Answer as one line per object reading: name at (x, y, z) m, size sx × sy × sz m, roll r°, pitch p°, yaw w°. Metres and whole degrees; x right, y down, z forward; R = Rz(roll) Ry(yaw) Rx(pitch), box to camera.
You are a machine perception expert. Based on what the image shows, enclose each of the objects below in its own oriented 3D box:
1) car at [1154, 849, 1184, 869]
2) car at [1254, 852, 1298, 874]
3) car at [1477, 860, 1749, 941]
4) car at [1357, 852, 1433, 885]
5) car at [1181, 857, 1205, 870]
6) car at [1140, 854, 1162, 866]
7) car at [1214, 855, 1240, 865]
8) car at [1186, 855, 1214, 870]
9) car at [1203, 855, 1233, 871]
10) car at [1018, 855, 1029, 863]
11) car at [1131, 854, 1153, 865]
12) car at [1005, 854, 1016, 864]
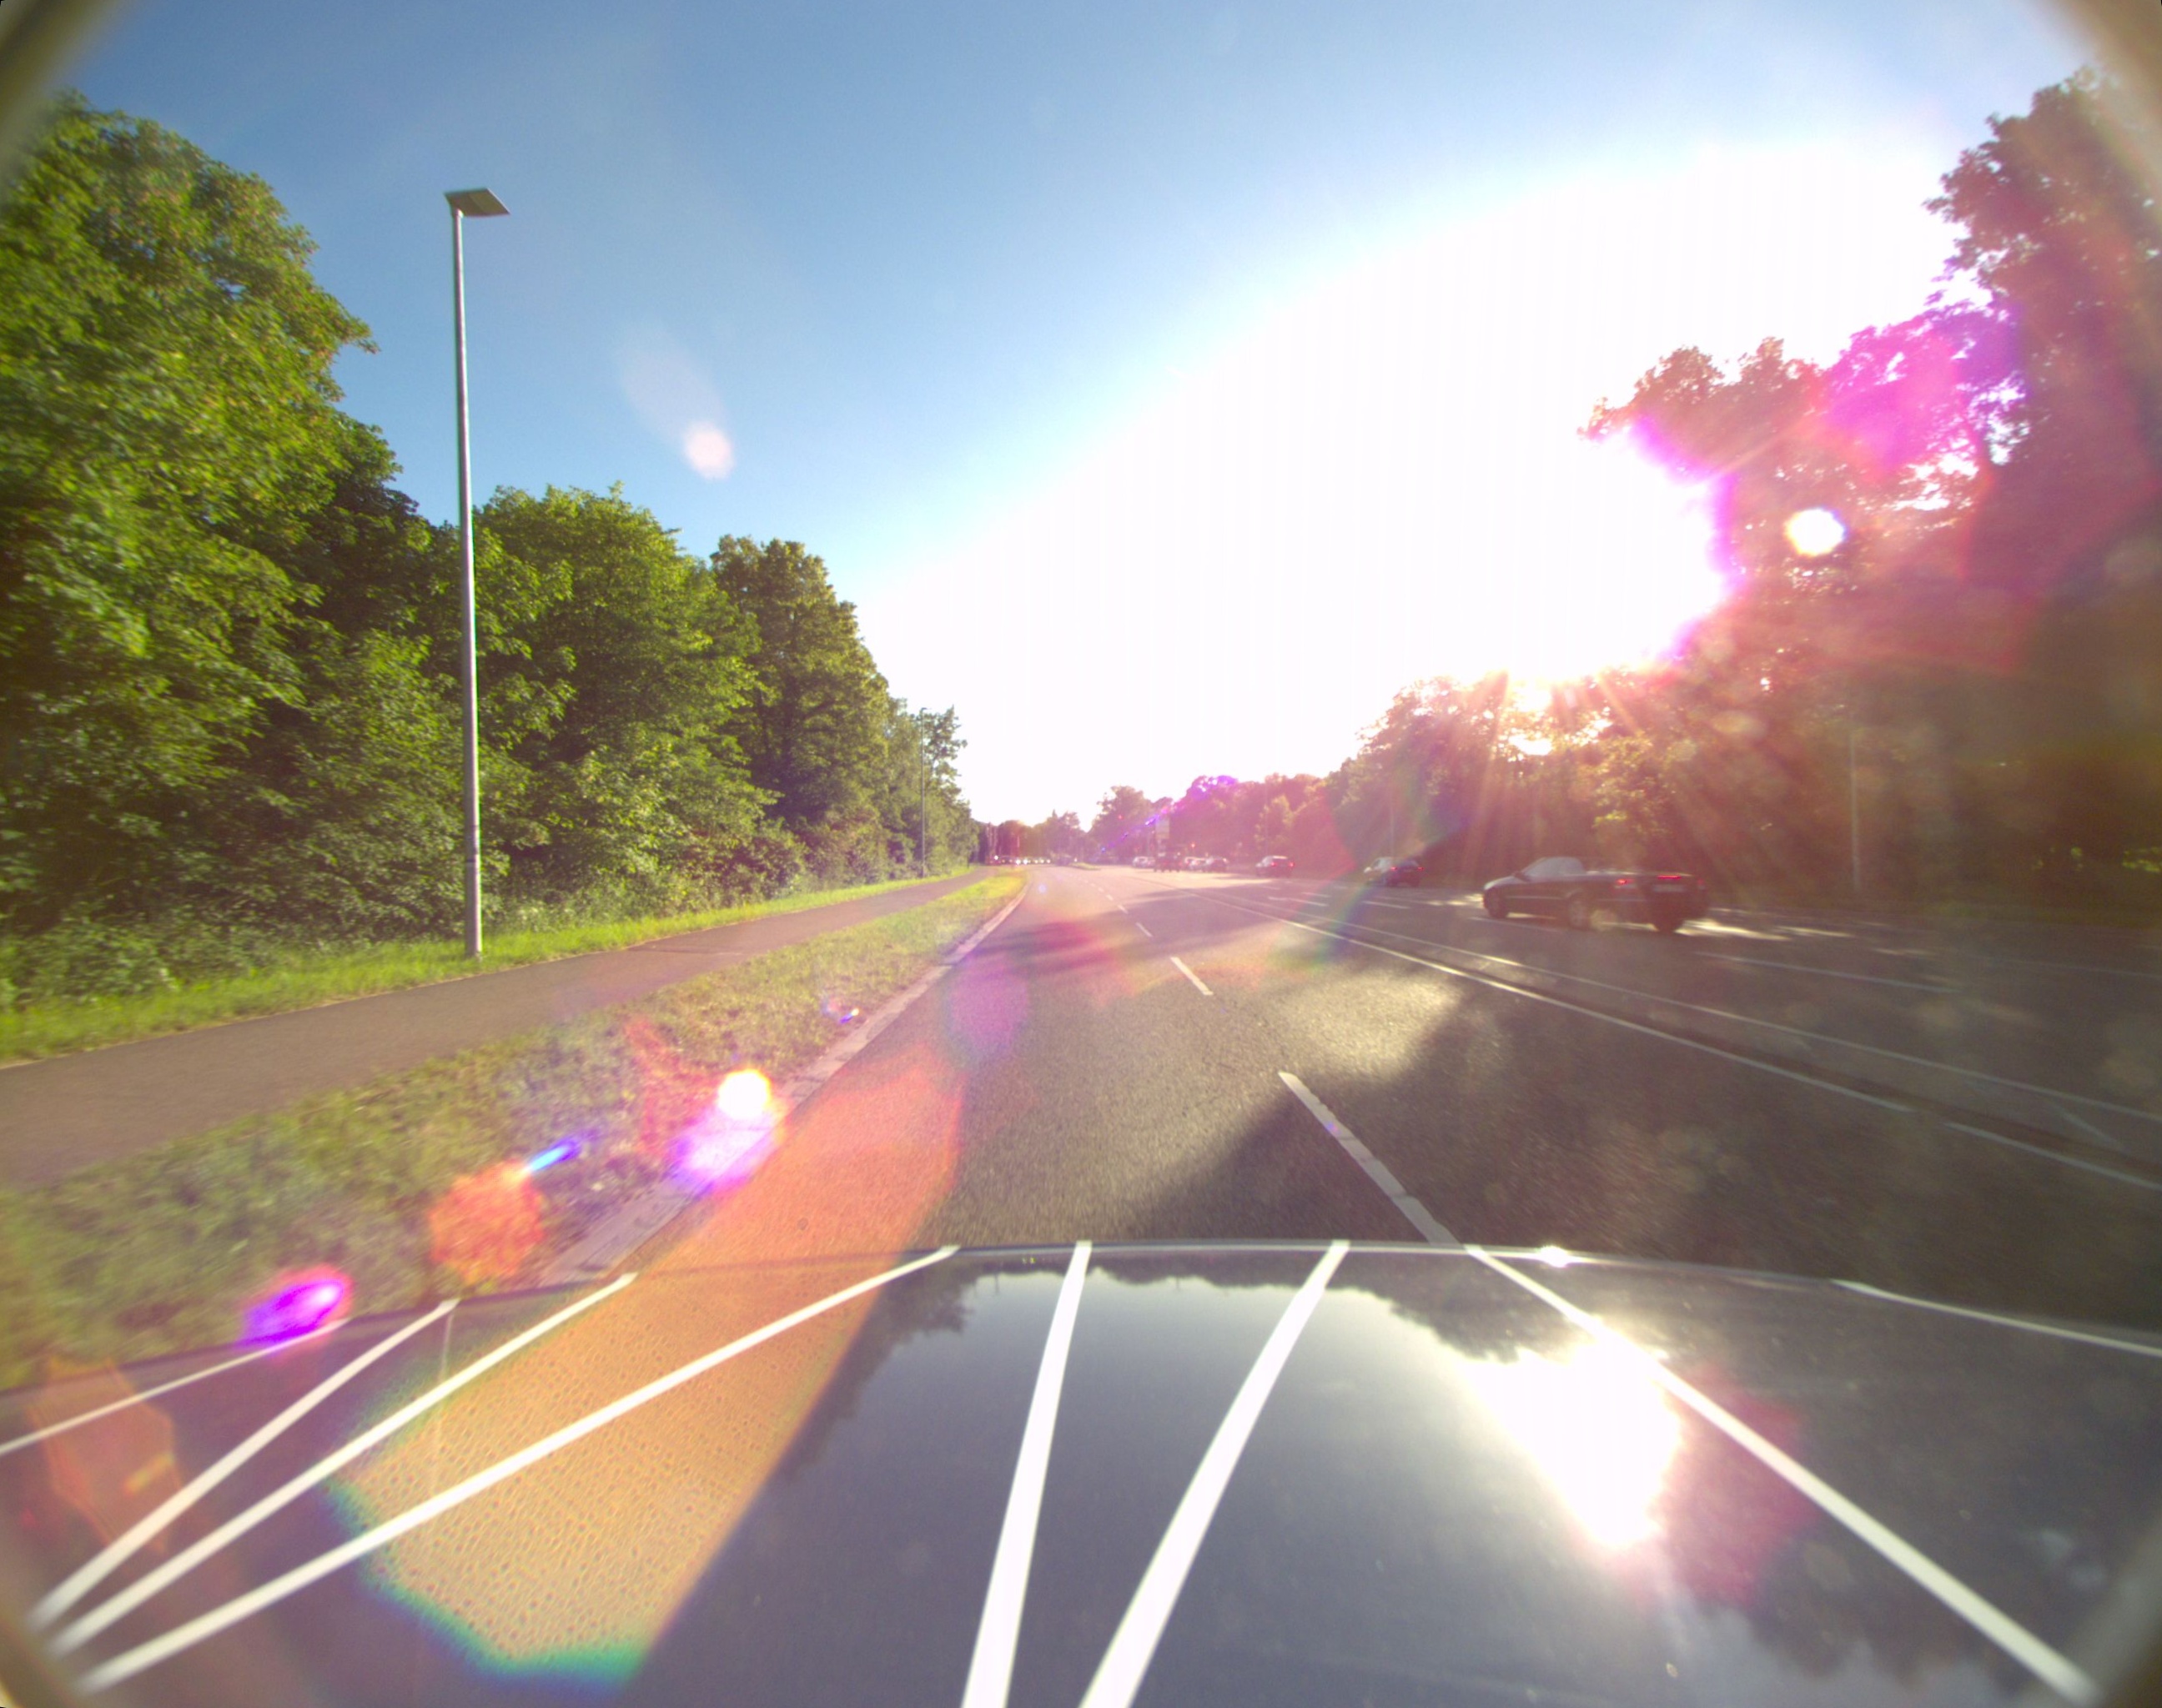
car at (8.863, 0.493, 76.614) m, size 2.000 × 1.950 × 4.645 m, roll 1°, pitch 0°, yaw -6°
car at (15.463, 0.687, 60.457) m, size 1.999 × 1.627 × 4.842 m, roll 0°, pitch 0°, yaw -3°
car at (9.547, 0.744, 14.239) m, size 1.748 × 1.227 × 4.672 m, roll 0°, pitch 0°, yaw -1°
car at (15.723, 0.678, 38.310) m, size 1.999 × 1.555 × 4.337 m, roll 0°, pitch 0°, yaw -1°
car at (13.812, 1.163, 94.069) m, size 1.999 × 1.555 × 4.646 m, roll 2°, pitch 0°, yaw -3°
car at (9.245, 0.754, 100.080) m, size 2.000 × 1.442 × 4.645 m, roll 1°, pitch 0°, yaw -6°
car at (22.107, 0.892, 115.107) m, size 1.994 × 1.442 × 4.658 m, roll 0°, pitch 0°, yaw 36°
car at (13.622, 0.905, 87.194) m, size 2.000 × 1.555 × 4.645 m, roll 3°, pitch 0°, yaw -5°
car at (14.178, 0.897, 78.807) m, size 1.999 × 1.555 × 4.646 m, roll 2°, pitch 0°, yaw -3°
car at (-12.033, 0.995, 158.677) m, size 2.000 × 1.510 × 3.996 m, roll -1°, pitch 1°, yaw -8°
car at (8.611, 0.786, 107.527) m, size 2.000 × 1.442 × 4.838 m, roll 1°, pitch 0°, yaw -8°
car at (-14.630, 1.052, 157.139) m, size 2.000 × 2.057 × 3.996 m, roll -1°, pitch 1°, yaw -8°
